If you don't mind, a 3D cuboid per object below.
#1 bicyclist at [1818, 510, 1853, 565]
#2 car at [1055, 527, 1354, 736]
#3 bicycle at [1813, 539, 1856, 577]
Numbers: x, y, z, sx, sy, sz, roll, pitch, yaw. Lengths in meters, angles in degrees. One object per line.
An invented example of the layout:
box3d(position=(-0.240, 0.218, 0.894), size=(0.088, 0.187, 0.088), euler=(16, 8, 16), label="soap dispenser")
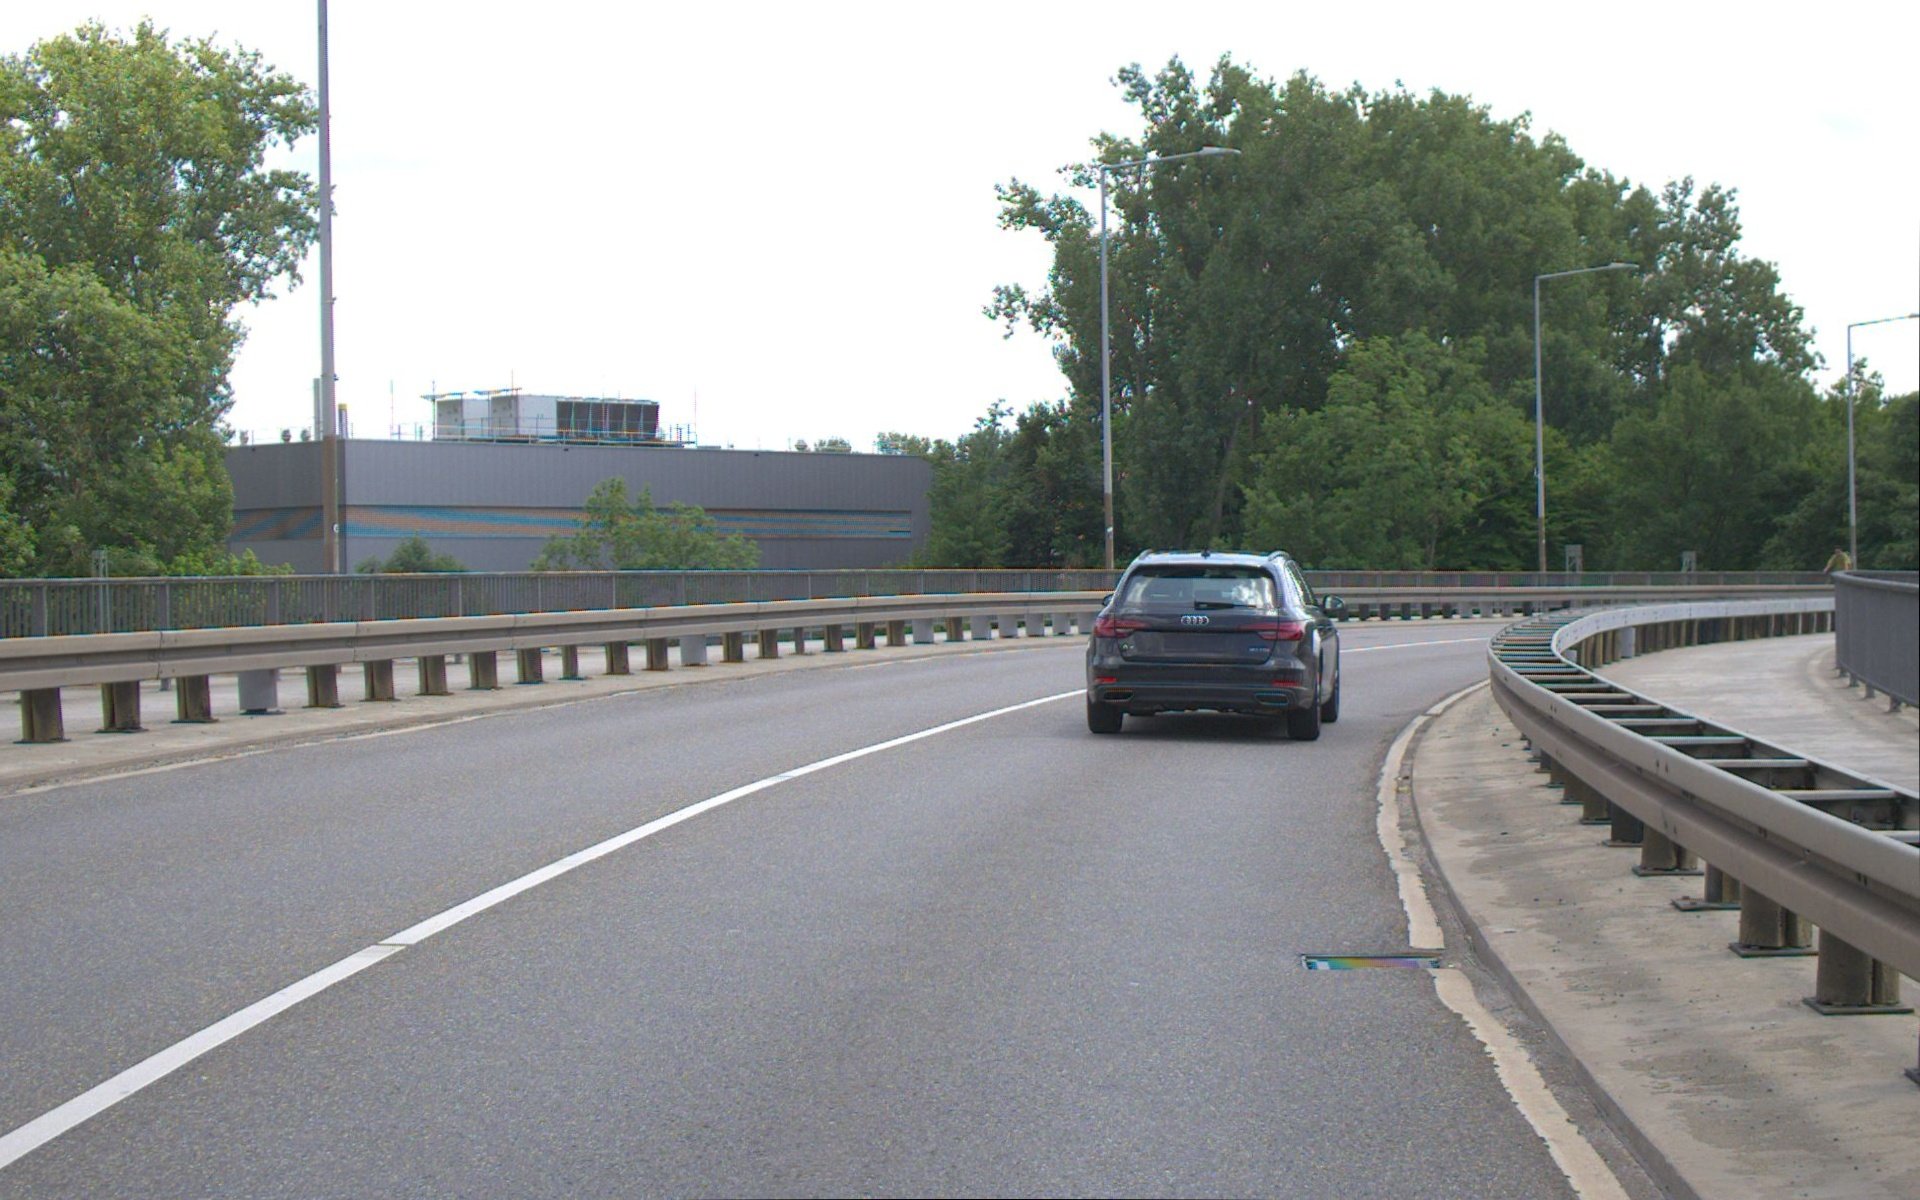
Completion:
box3d(position=(25.685, -1.837, 100.826), size=(0.768, 1.597, 0.946), euler=(1, 0, 27), label="bicyclist")
box3d(position=(2.037, 0.209, 27.456), size=(1.829, 1.486, 4.205), euler=(2, 1, 11), label="car")
box3d(position=(25.633, -1.227, 100.745), size=(0.770, 1.091, 2.112), euler=(1, 0, 27), label="bicycle")
